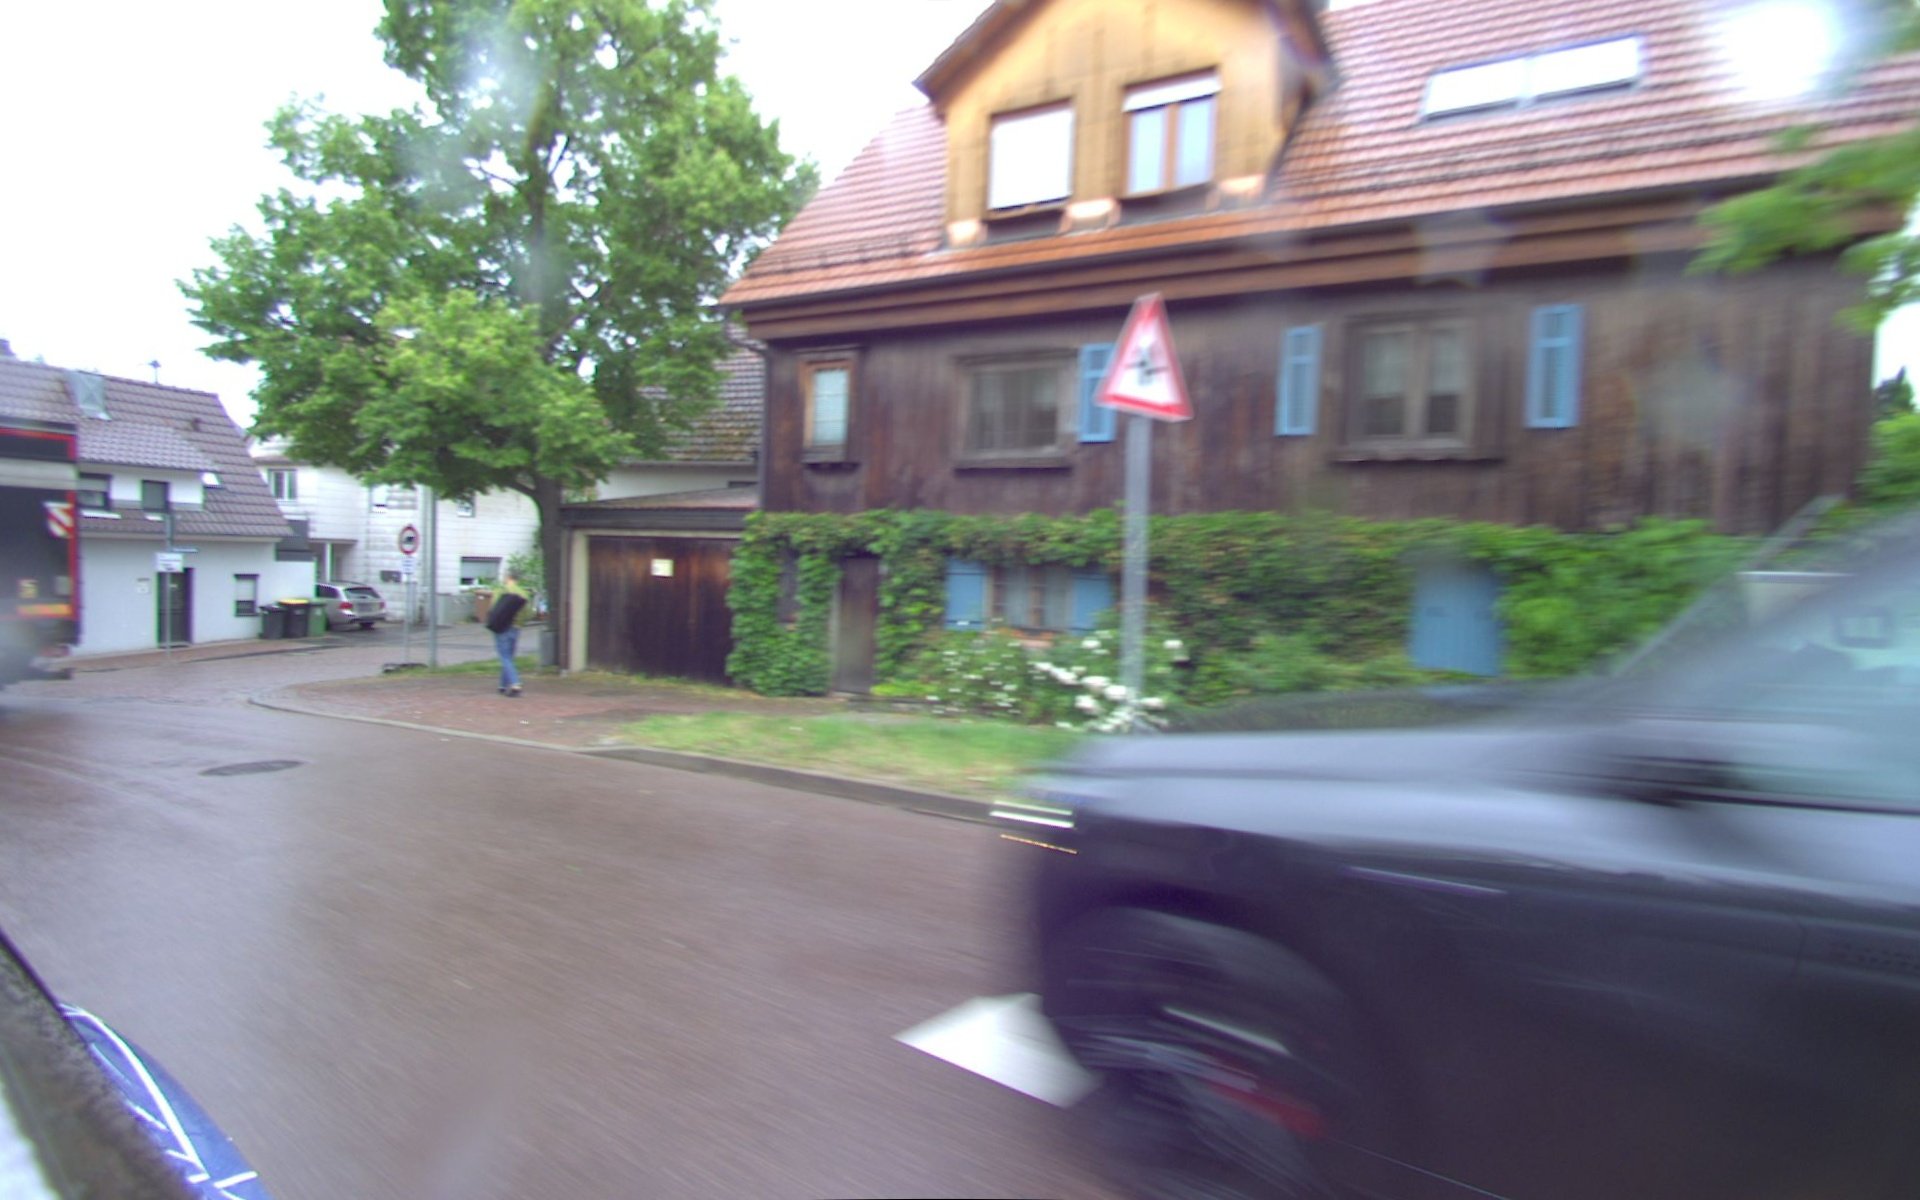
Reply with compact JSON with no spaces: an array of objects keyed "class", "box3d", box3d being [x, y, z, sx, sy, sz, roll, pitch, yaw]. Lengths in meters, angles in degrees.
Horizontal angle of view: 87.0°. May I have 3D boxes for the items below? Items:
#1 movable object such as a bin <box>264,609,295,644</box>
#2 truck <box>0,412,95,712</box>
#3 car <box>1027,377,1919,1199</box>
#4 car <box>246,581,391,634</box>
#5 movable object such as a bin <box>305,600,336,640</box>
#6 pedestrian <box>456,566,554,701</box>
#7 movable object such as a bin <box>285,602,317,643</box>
[{"class":"movable object such as a bin","box3d":[-18.847,0.722,28.046,0.497,0.947,0.514,-1,0,20]},{"class":"truck","box3d":[-17.627,-0.420,15.379,10.372,3.998,2.833,-1,0,26]},{"class":"car","box3d":[2.320,0.484,1.751,4.139,1.628,1.867,-1,0,43]},{"class":"car","box3d":[-19.876,0.232,31.395,3.969,1.544,1.716,-1,0,19]},{"class":"movable object such as a bin","box3d":[-18.380,0.574,29.085,0.514,1.132,0.526,-1,0,21]},{"class":"pedestrian","box3d":[-6.508,0.457,14.485,0.893,1.844,0.959,-1,0,38]},{"class":"movable object such as a bin","box3d":[-18.600,0.621,28.557,0.513,1.132,0.542,-1,0,20]}]
